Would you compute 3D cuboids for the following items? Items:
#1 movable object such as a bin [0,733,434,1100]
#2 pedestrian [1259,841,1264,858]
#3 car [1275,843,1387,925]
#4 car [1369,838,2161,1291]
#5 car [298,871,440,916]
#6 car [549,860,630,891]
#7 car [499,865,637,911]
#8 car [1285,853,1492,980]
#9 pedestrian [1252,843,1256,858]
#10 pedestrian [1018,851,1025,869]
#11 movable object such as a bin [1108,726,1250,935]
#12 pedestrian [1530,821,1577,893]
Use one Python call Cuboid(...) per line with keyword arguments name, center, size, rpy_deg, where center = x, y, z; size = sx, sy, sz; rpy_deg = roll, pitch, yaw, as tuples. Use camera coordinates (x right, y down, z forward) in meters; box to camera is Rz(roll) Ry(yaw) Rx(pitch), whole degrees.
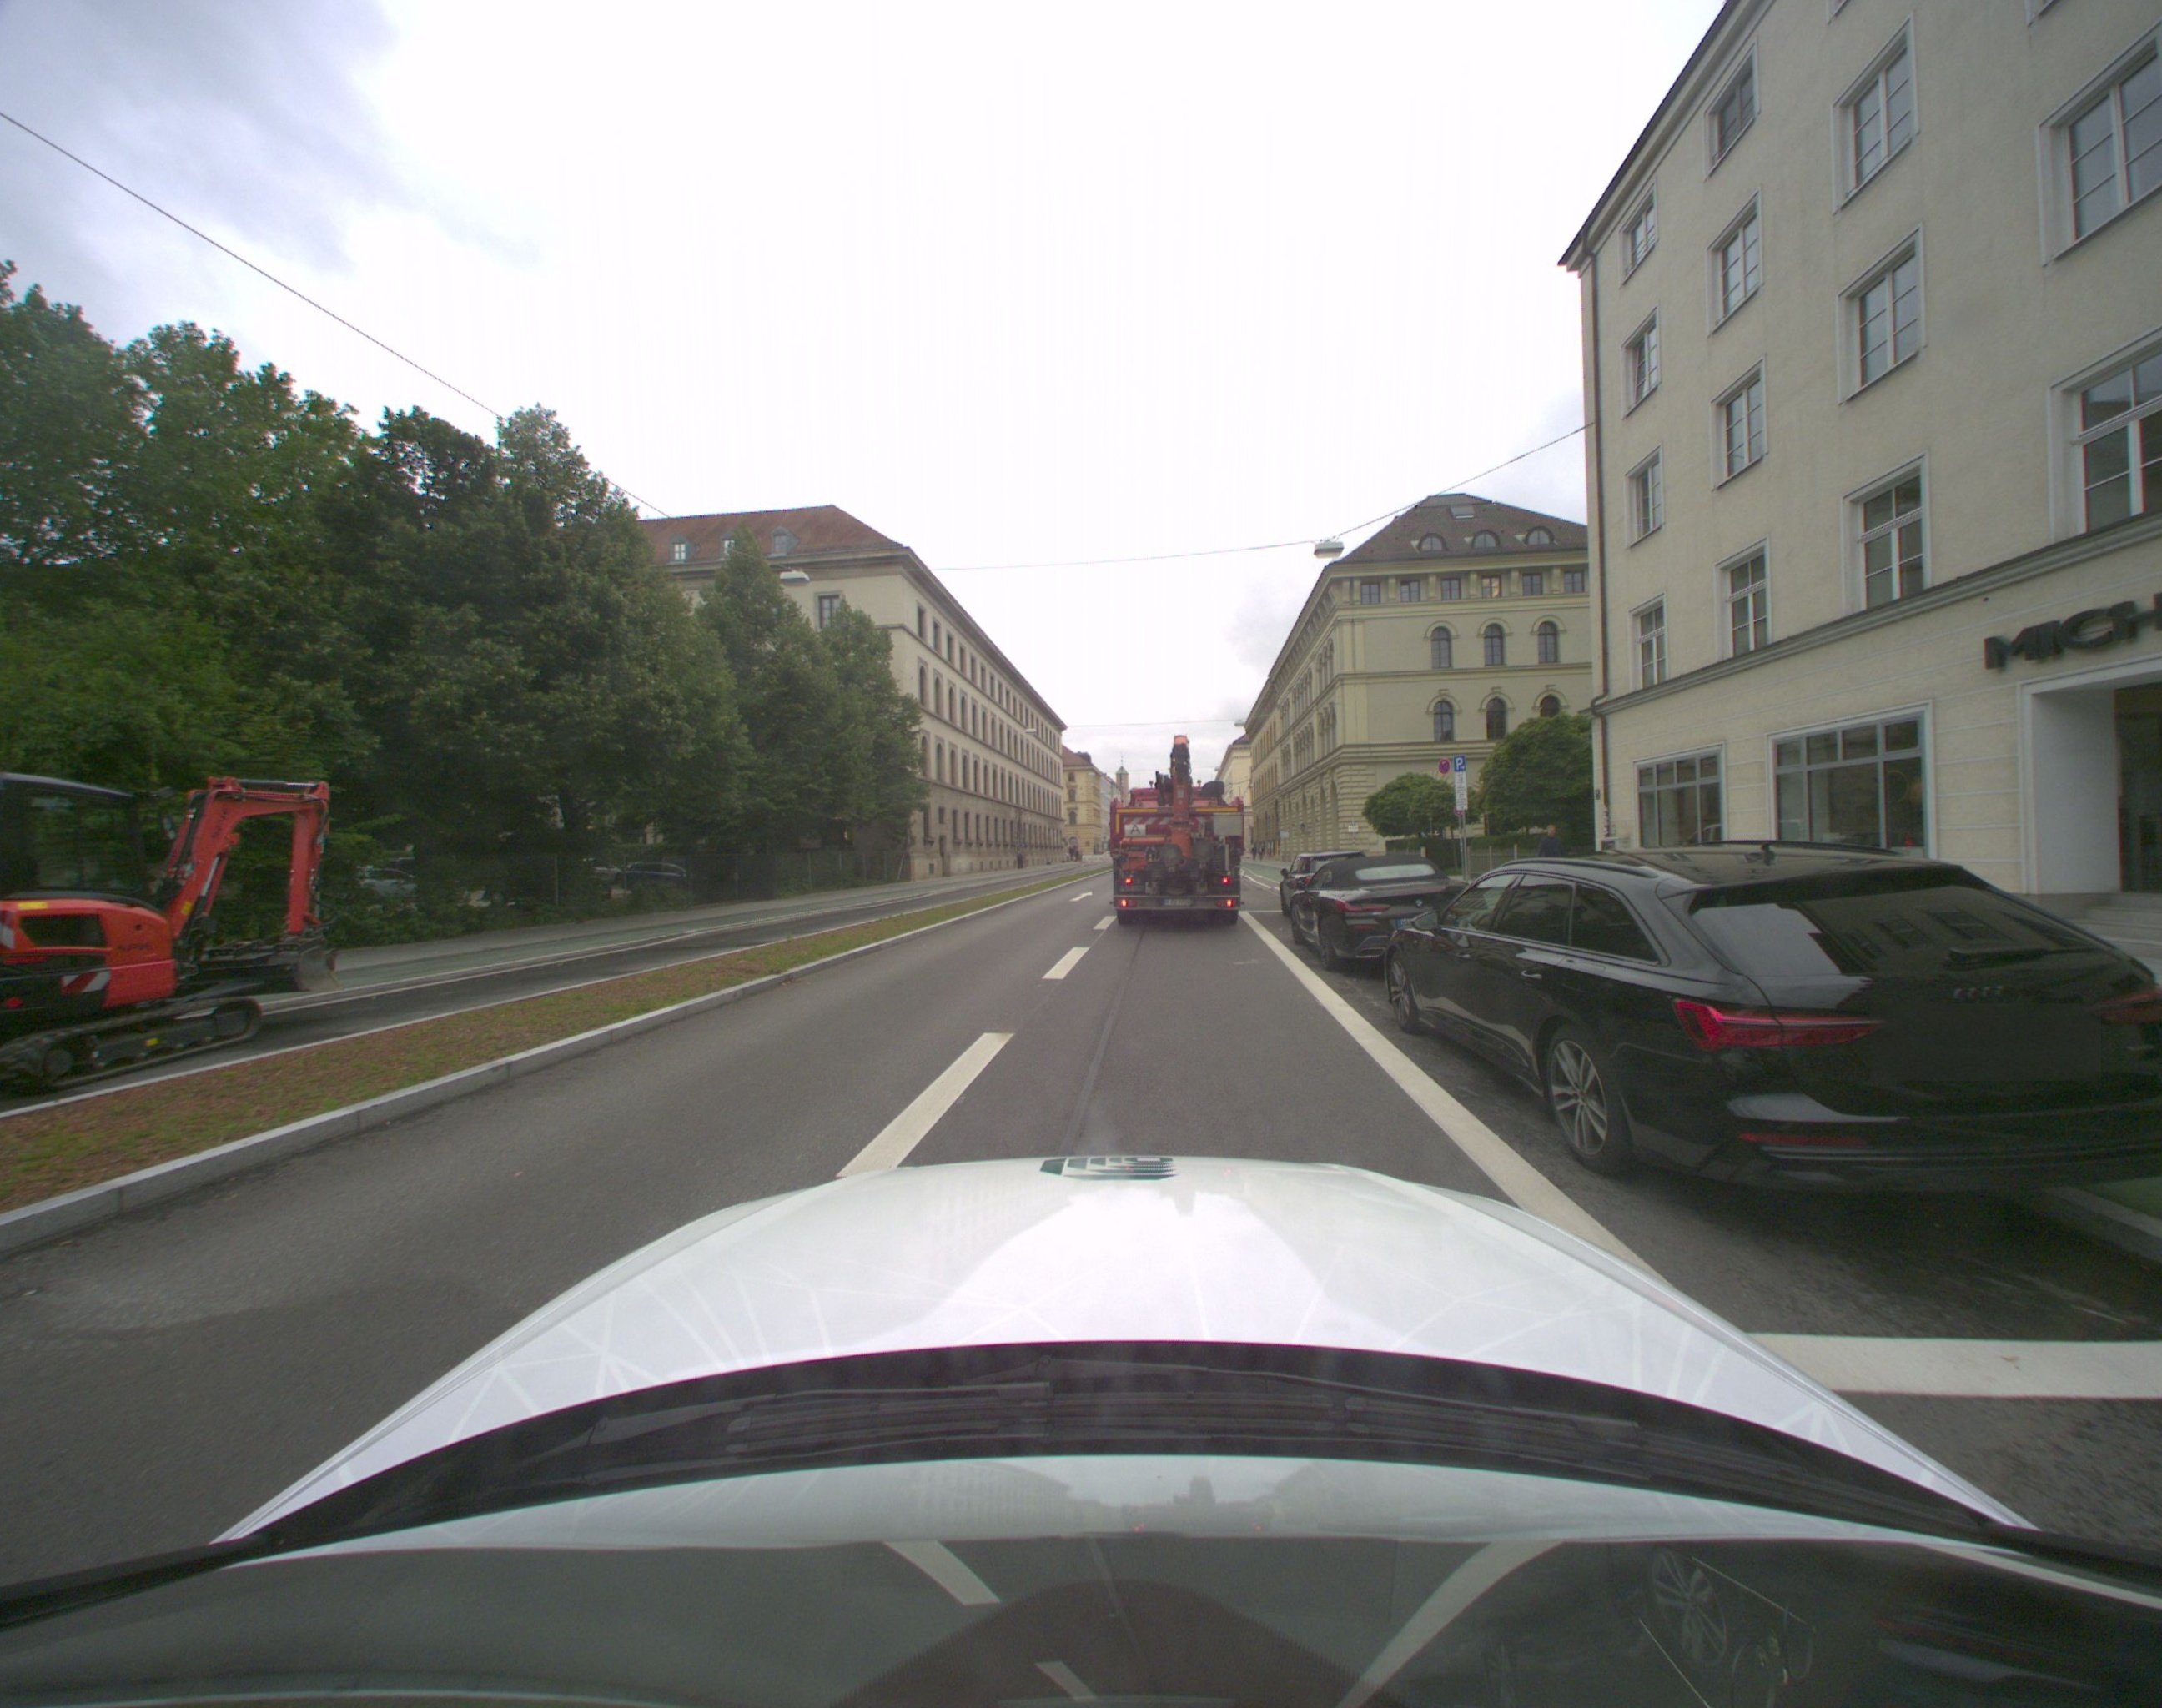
Cuboid(name="movable object such as a bin", center=(-8.994, 0.485, 8.014), size=(1.993, 2.641, 4.651), rpy_deg=(-2, 0, -9))
Cuboid(name="pedestrian", center=(20.456, -0.504, 92.454), size=(0.443, 1.836, 0.557), rpy_deg=(-2, 0, 8))
Cuboid(name="car", center=(5.103, 0.555, 17.009), size=(1.602, 1.495, 3.431), rpy_deg=(-2, 0, 7))
Cuboid(name="car", center=(3.288, 0.673, 5.035), size=(1.793, 1.480, 4.695), rpy_deg=(0, 0, 6))
Cuboid(name="car", center=(-28.792, 1.565, 33.136), size=(1.821, 1.545, 4.184), rpy_deg=(-1, 1, 5))
Cuboid(name="car", center=(-27.144, 1.146, 45.098), size=(1.821, 1.545, 3.946), rpy_deg=(-1, 1, 5))
Cuboid(name="car", center=(-18.783, 1.223, 29.898), size=(3.909, 1.545, 1.838), rpy_deg=(-1, 1, 4))
Cuboid(name="car", center=(4.002, 0.707, 11.363), size=(1.671, 1.386, 4.435), rpy_deg=(-1, 0, 7))
Cuboid(name="pedestrian", center=(19.668, -0.395, 92.416), size=(0.335, 1.672, 0.441), rpy_deg=(-2, 0, 8))
Cuboid(name="pedestrian", center=(-6.078, 0.628, 82.638), size=(0.586, 1.831, 0.499), rpy_deg=(-1, 0, 5))
Cuboid(name="movable object such as a bin", center=(2.002, -0.416, 17.197), size=(2.411, 3.611, 5.861), rpy_deg=(-1, 0, 6))
Cuboid(name="pedestrian", center=(12.378, 0.075, 21.350), size=(0.786, 1.836, 0.779), rpy_deg=(-2, 0, 8))
